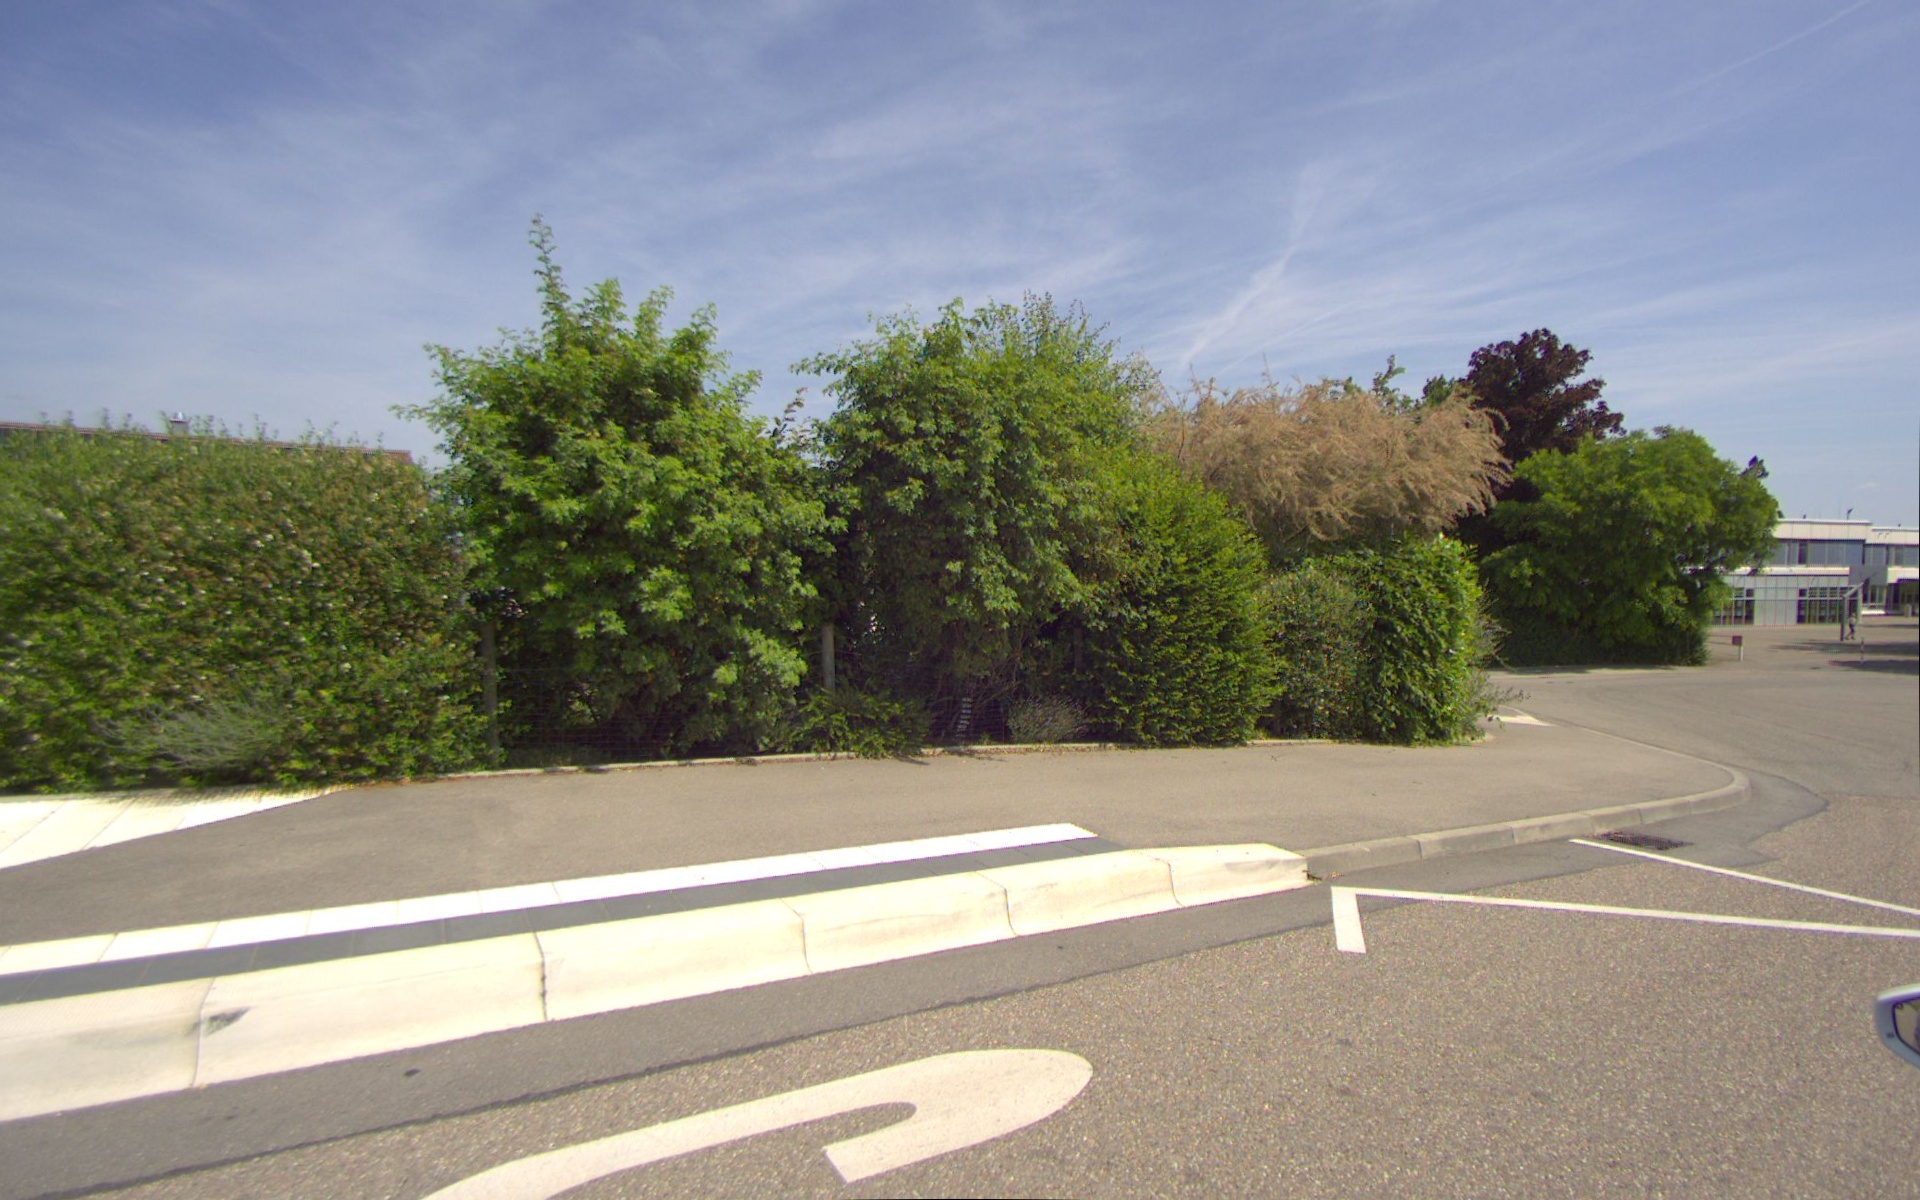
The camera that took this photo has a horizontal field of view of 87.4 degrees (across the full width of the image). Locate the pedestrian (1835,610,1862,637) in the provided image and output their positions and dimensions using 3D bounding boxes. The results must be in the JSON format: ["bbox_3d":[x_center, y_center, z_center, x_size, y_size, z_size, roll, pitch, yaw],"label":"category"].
[{"bbox_3d":[47.820,1.267,54.079,1.054,1.442,0.915,1,1,42],"label":"pedestrian"}]
